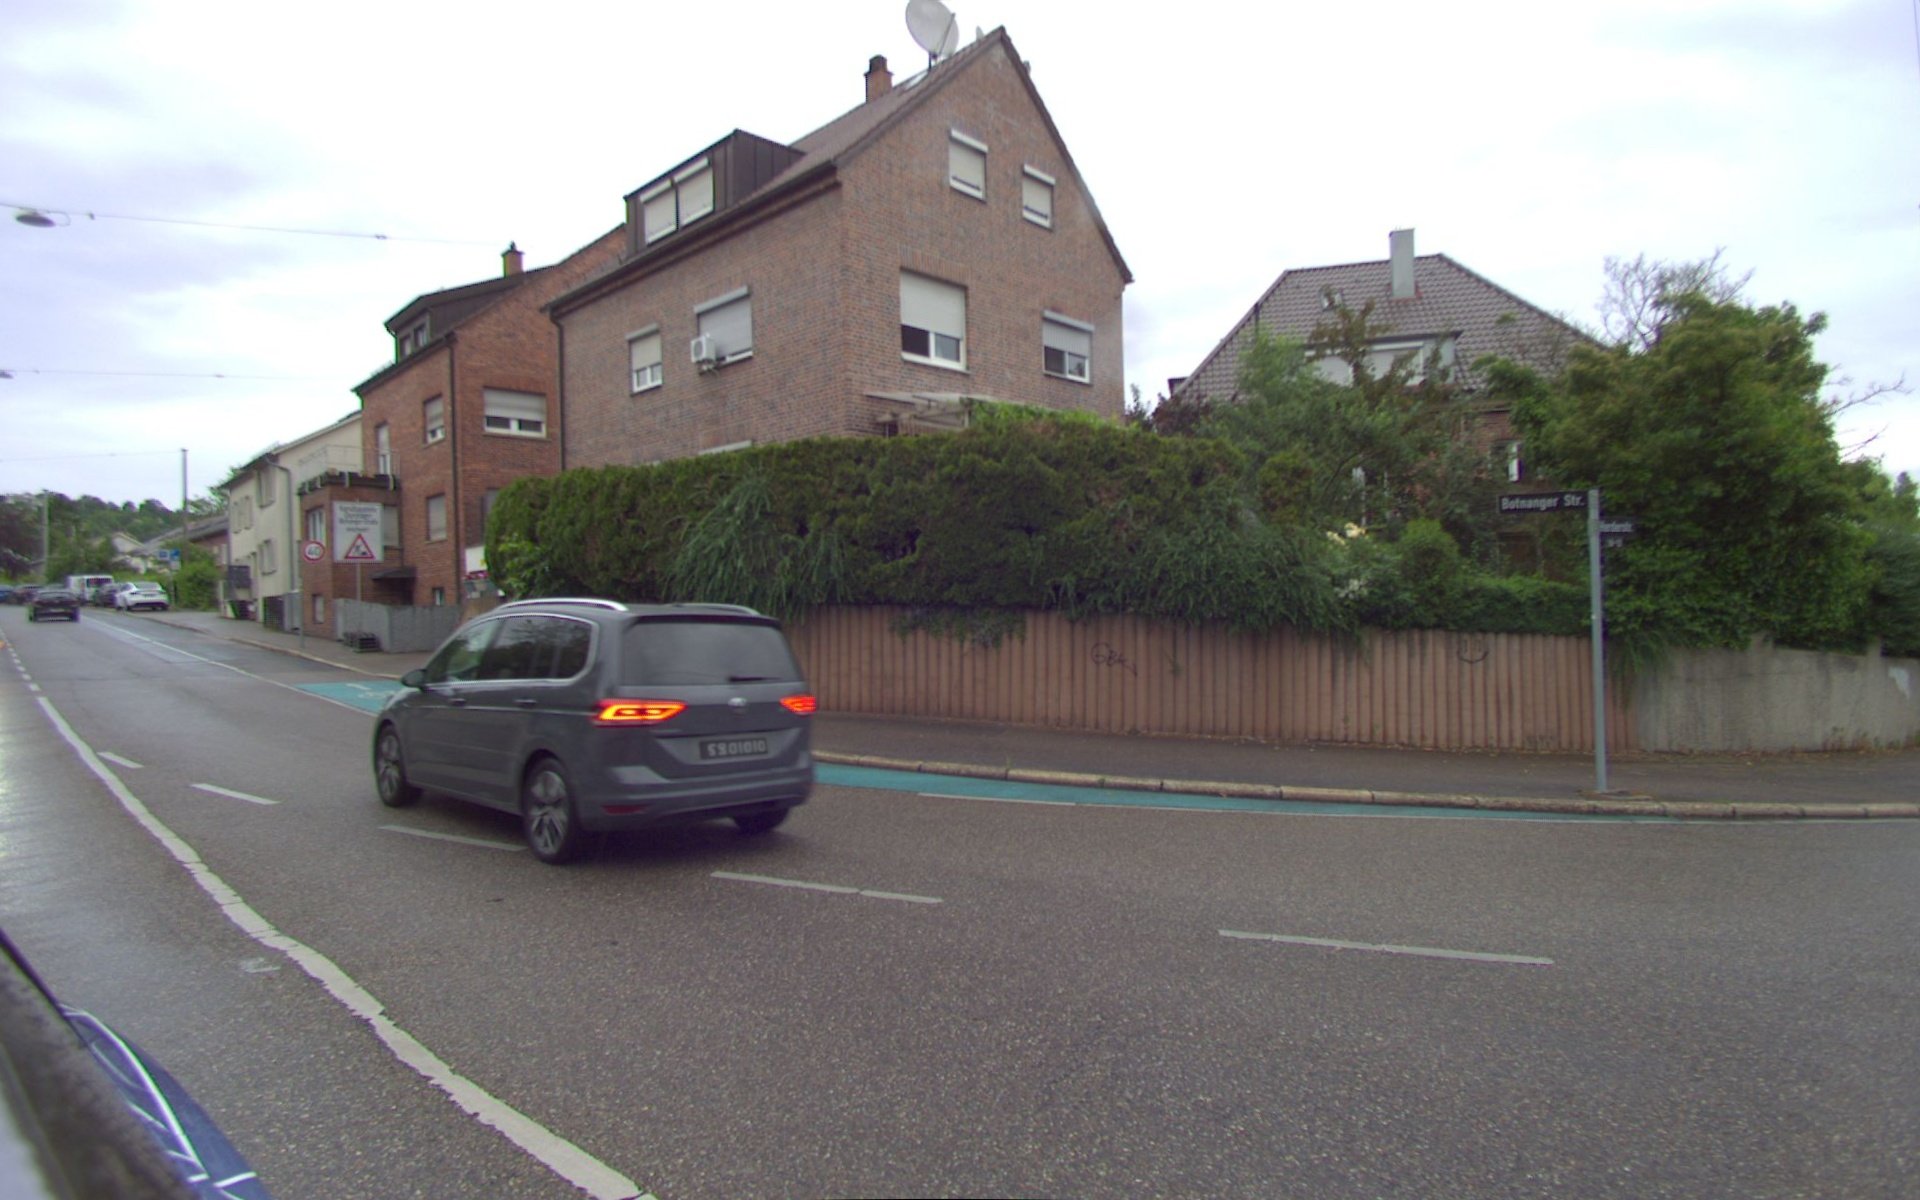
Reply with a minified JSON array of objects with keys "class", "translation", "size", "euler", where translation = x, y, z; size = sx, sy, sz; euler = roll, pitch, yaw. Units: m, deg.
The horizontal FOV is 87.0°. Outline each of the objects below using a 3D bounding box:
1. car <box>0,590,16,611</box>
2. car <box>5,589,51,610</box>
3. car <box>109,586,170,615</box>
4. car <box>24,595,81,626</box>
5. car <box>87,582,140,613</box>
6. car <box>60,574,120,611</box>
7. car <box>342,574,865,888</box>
[{"class":"car","translation":[-71.615,0.076,75.004],"size":[3.894,1.501,1.606],"euler":[0,2,35]},{"class":"car","translation":[-66.751,-0.048,72.469],"size":[3.852,1.407,1.635],"euler":[0,2,35]},{"class":"car","translation":[-46.512,0.016,57.350],"size":[4.261,1.577,1.921],"euler":[0,2,41]},{"class":"car","translation":[-43.757,0.485,48.782],"size":[1.893,1.457,3.721],"euler":[0,0,-44]},{"class":"car","translation":[-52.566,-0.171,62.825],"size":[4.261,1.817,1.792],"euler":[0,2,41]},{"class":"car","translation":[-57.283,-0.493,66.591],"size":[4.543,2.303,2.229],"euler":[0,2,40]},{"class":"car","translation":[-2.821,0.763,7.539],"size":[4.170,1.693,1.829],"euler":[-1,-3,41]}]
